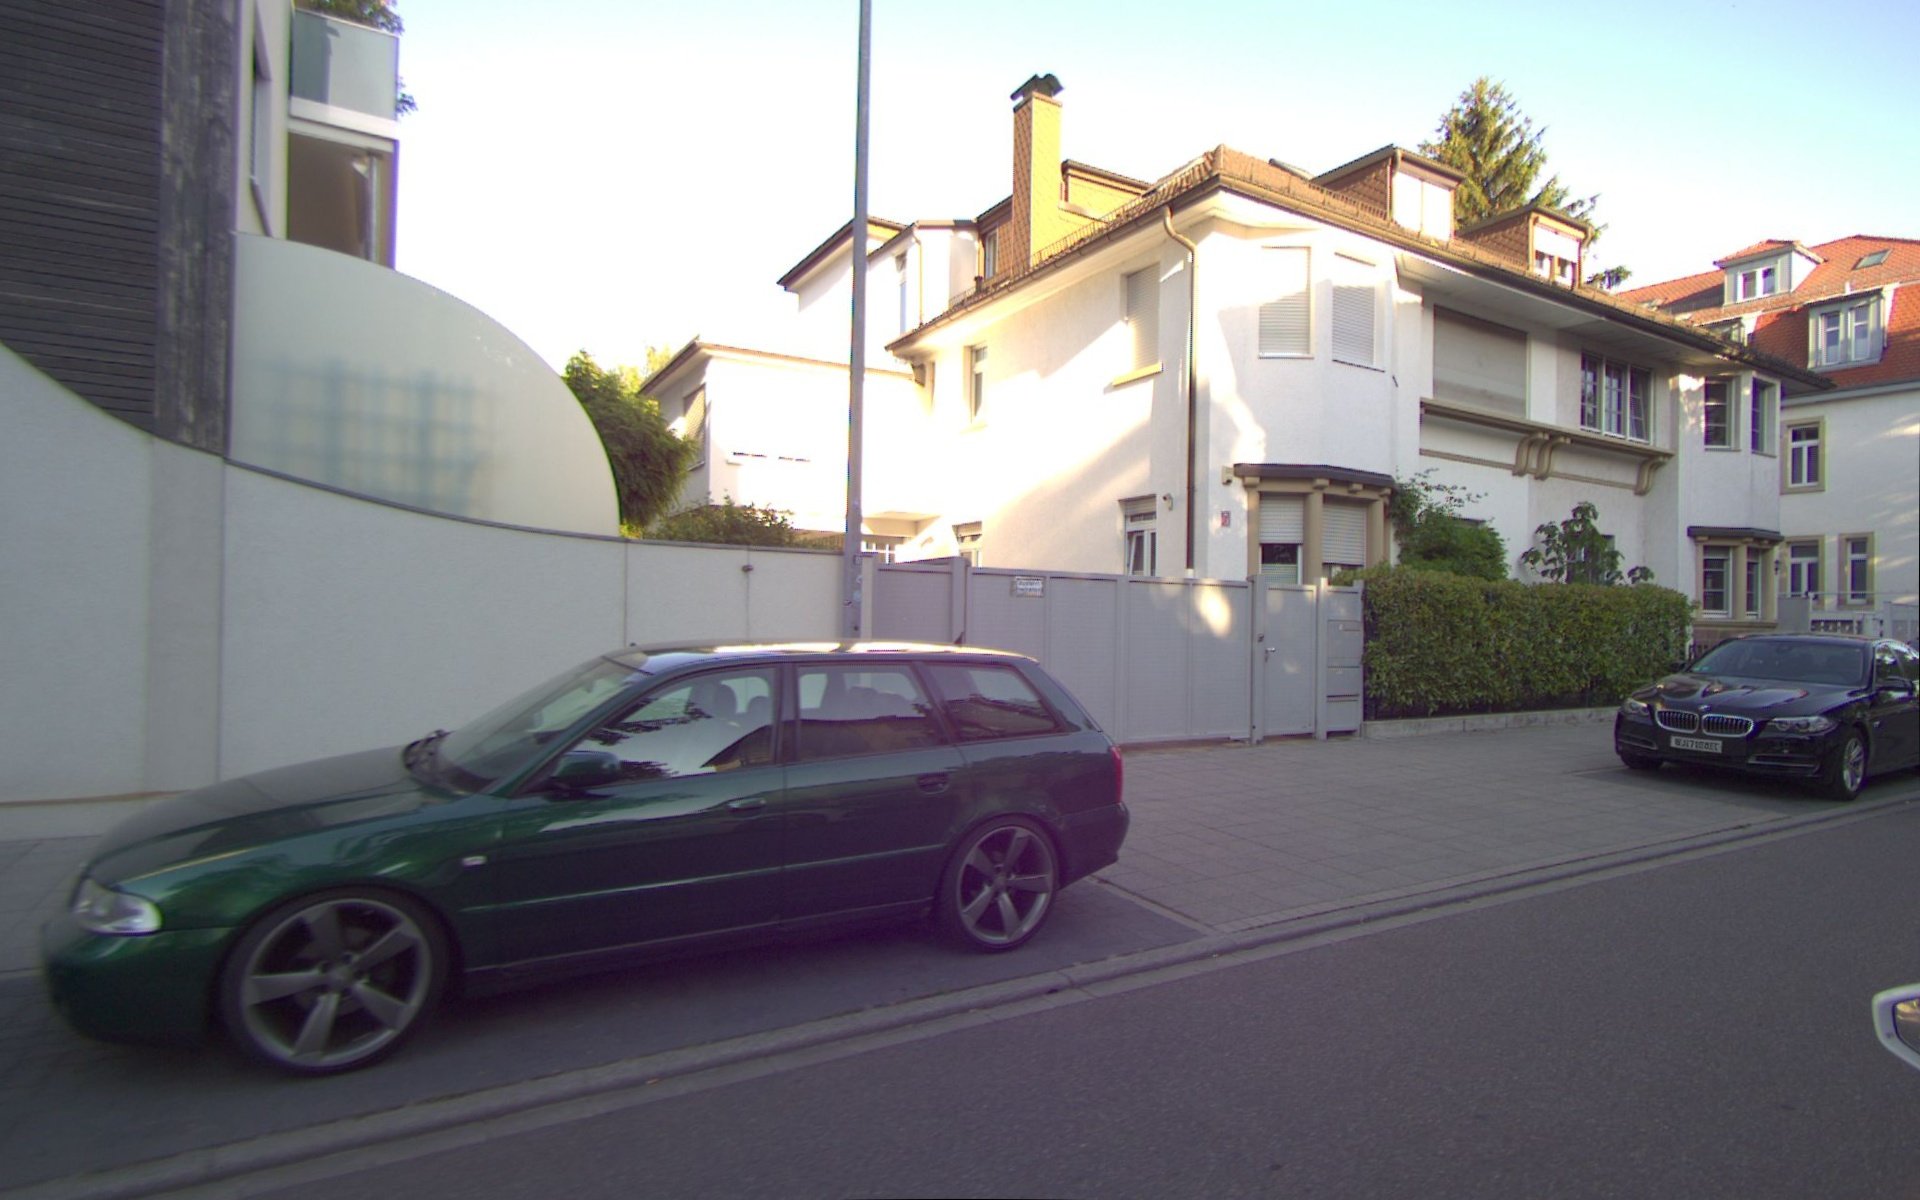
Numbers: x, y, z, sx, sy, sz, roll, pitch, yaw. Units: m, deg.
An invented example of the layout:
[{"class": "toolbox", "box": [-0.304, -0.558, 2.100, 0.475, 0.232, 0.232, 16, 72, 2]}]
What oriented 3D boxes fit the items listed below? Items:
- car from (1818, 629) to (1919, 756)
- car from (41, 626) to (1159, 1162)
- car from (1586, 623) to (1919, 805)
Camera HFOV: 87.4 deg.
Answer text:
[{"class": "car", "box": [13.647, 1.208, 13.532, 4.645, 1.517, 1.775, 2, -1, -31]}, {"class": "car", "box": [-1.231, 0.905, 4.629, 4.094, 1.466, 1.749, 2, -1, -31]}, {"class": "car", "box": [8.688, 1.052, 10.574, 4.607, 1.517, 1.843, 2, -1, -34]}]
